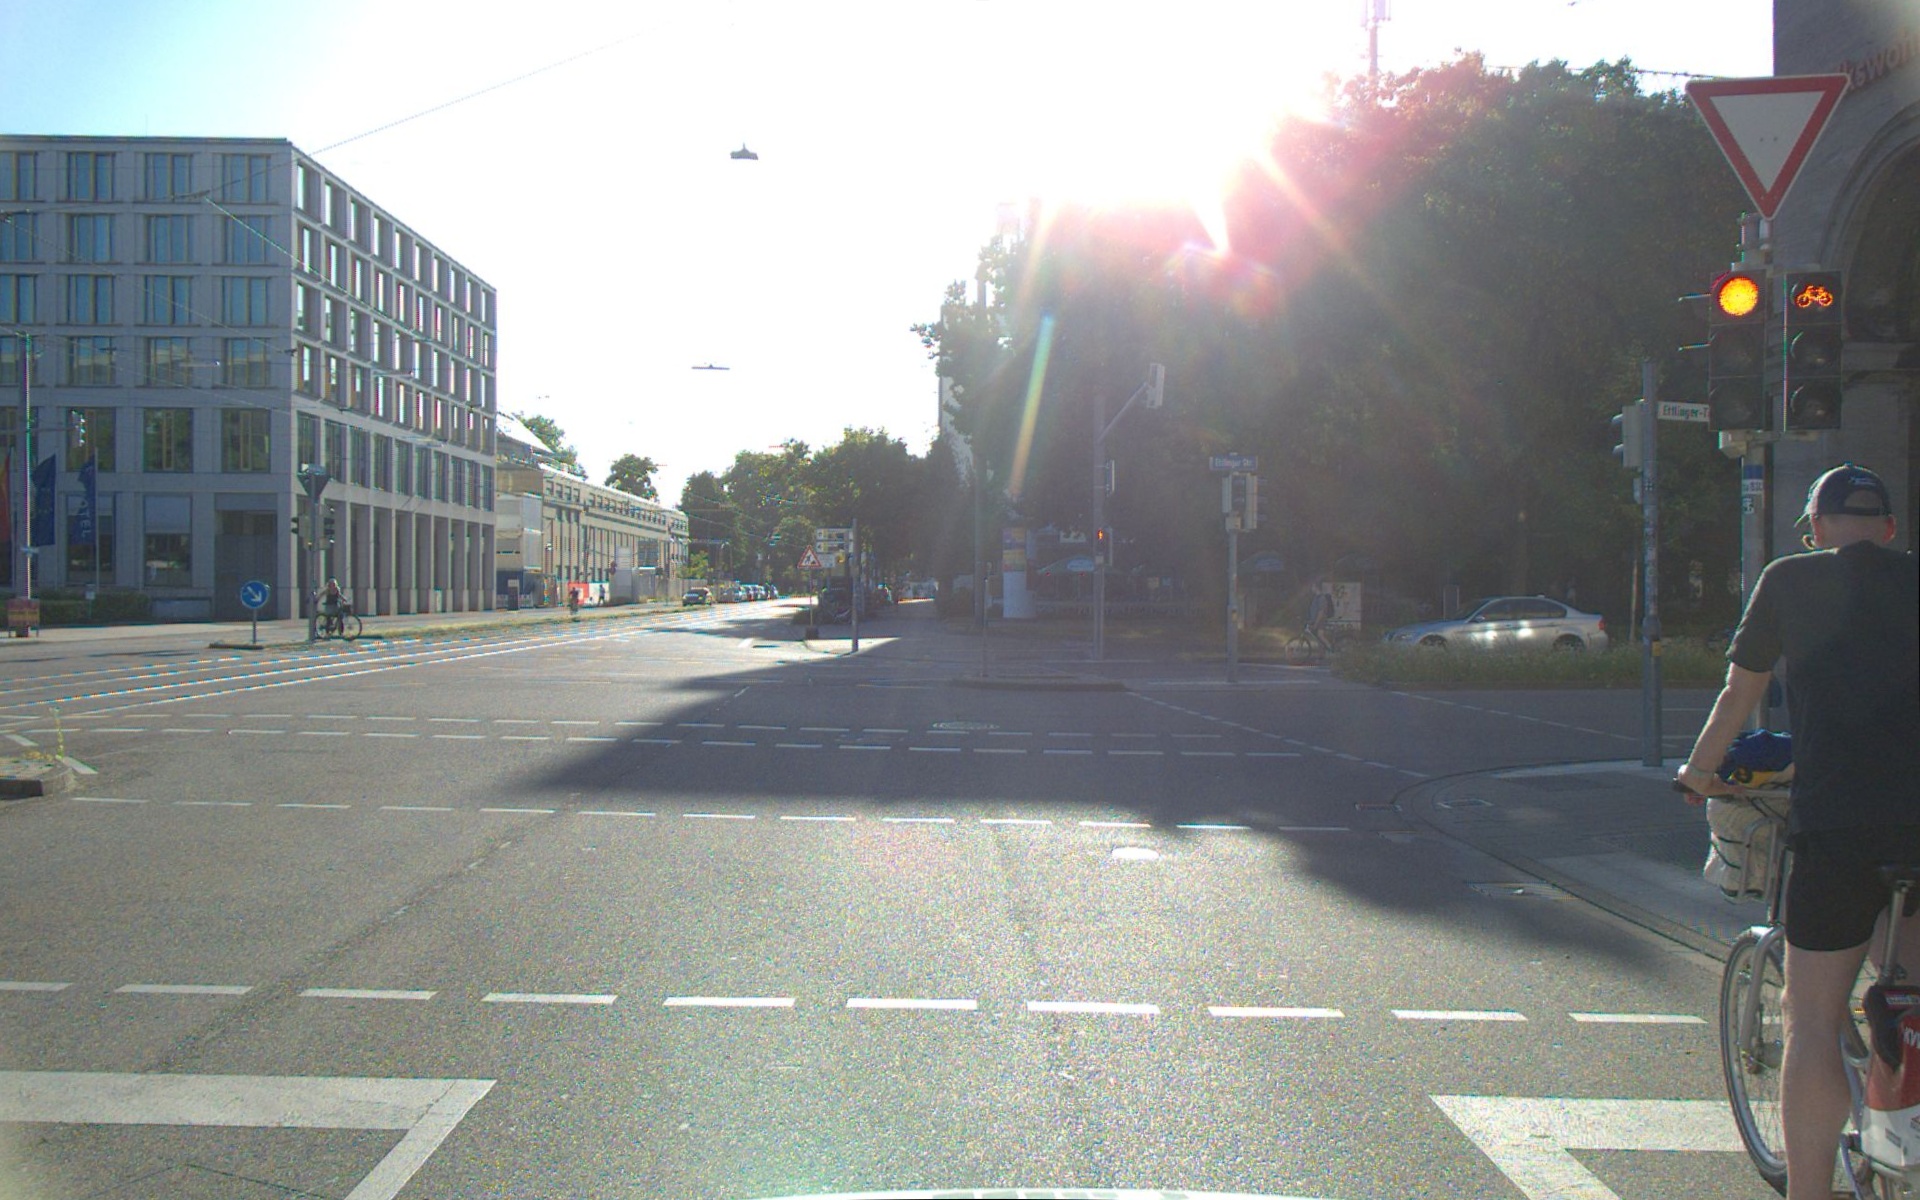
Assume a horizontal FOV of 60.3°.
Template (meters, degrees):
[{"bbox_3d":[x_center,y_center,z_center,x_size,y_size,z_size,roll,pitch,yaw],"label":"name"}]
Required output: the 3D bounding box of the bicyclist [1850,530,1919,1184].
[{"bbox_3d":[2.881,0.695,4.337,0.572,1.769,0.950,0,0,0],"label":"bicyclist"}]

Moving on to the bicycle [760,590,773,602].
[{"bbox_3d":[-19.825,-0.391,169.490,0.735,1.226,3.109,1,0,5],"label":"bicycle"}]

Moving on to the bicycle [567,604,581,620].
[{"bbox_3d":[-21.816,0.677,93.444,0.484,0.854,1.156,-1,0,2],"label":"bicycle"}]

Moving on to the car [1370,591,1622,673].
[{"bbox_3d":[10.850,0.634,33.708,4.483,1.543,2.000,1,0,-1],"label":"car"}]

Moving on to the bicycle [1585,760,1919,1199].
[{"bbox_3d":[2.135,0.999,3.897,0.610,1.062,1.746,0,0,-2],"label":"bicycle"}]

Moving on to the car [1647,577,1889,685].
[{"bbox_3d":[16.229,0.615,33.362,3.905,2.049,2.000,1,0,0],"label":"car"}]

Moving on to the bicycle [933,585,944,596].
[{"bbox_3d":[-2.605,-1.120,200.357,0.875,1.240,2.785,1,0,-12],"label":"bicycle"}]

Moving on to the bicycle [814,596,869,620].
[{"bbox_3d":[-4.810,0.312,67.129,2.201,0.956,0.653,0,0,-6],"label":"bicycle"}]

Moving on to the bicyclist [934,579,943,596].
[{"bbox_3d":[-2.593,-1.542,200.379,0.875,2.049,0.746,1,-1,-12],"label":"bicyclist"}]

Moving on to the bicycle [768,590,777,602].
[{"bbox_3d":[-19.807,-0.405,174.941,0.735,1.226,3.107,1,0,-2],"label":"bicycle"}]

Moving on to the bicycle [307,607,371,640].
[{"bbox_3d":[-16.325,0.607,43.466,1.679,0.837,0.573,0,0,27],"label":"bicycle"}]

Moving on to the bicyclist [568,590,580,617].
[{"bbox_3d":[-21.821,0.217,93.438,0.484,1.525,0.666,0,0,2],"label":"bicyclist"}]

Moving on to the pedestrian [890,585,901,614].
[{"bbox_3d":[-3.790,-0.038,97.464,0.566,1.719,0.584,0,0,-8],"label":"pedestrian"}]

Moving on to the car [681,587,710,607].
[{"bbox_3d":[-21.677,-0.281,135.613,1.954,1.627,3.997,0,1,-3],"label":"car"}]

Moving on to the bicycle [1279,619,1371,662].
[{"bbox_3d":[8.035,0.884,36.469,1.902,0.905,0.718,1,0,5],"label":"bicycle"}]

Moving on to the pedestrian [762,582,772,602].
[{"bbox_3d":[-19.798,-0.822,169.558,0.735,2.099,1.050,1,-1,5],"label":"pedestrian"}]

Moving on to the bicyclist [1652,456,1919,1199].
[{"bbox_3d":[2.138,0.572,3.885,0.610,1.745,0.912,0,0,-3],"label":"bicyclist"}]

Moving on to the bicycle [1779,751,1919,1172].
[{"bbox_3d":[2.881,1.016,4.373,0.570,1.062,1.747,0,0,0],"label":"bicycle"}]

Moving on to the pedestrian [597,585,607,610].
[{"bbox_3d":[-27.711,-0.174,128.087,0.575,1.922,0.478,1,-1,14],"label":"pedestrian"}]

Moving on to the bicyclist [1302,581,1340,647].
[{"bbox_3d":[7.957,0.309,36.476,0.731,1.431,0.702,1,-1,6],"label":"bicyclist"}]

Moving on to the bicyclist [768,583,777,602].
[{"bbox_3d":[-19.817,-0.787,174.823,0.735,1.953,1.214,1,0,-2],"label":"bicyclist"}]

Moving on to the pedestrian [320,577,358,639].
[{"bbox_3d":[-16.317,0.210,43.464,0.727,1.623,0.573,0,0,26],"label":"pedestrian"}]
